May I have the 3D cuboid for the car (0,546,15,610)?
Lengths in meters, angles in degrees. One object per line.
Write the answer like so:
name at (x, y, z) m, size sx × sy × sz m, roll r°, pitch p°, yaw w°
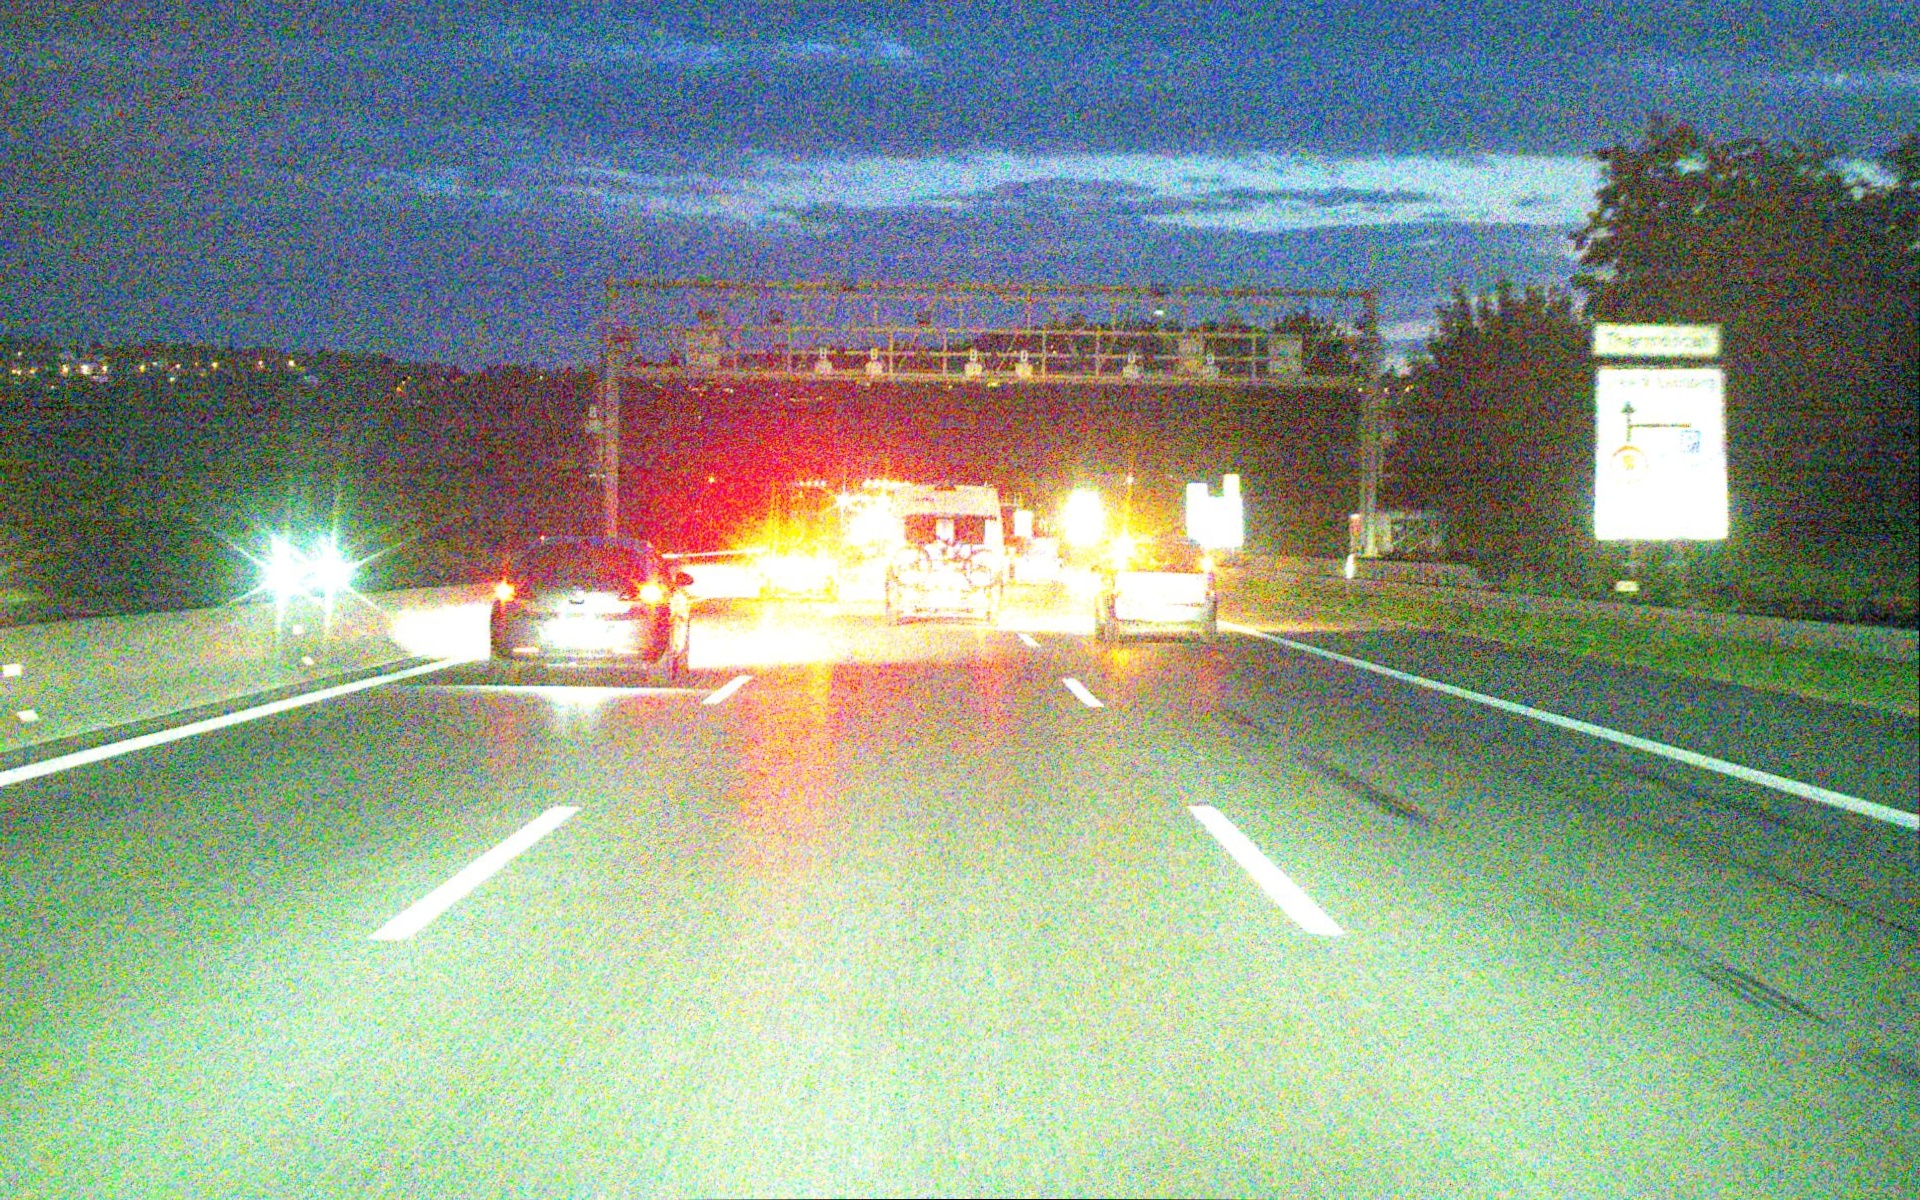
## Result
car at (-20.458, -0.409, 68.774) m, size 1.903 × 1.278 × 4.350 m, roll -1°, pitch 1°, yaw 0°

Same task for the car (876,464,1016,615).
car at (-0.241, -1.088, 60.878) m, size 2.351 × 2.526 × 5.701 m, roll 0°, pitch 1°, yaw 0°

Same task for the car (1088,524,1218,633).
car at (2.932, -0.351, 52.892) m, size 1.646 × 1.591 × 4.510 m, roll 1°, pitch 1°, yaw -1°

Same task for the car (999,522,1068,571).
car at (2.381, -1.751, 112.303) m, size 2.163 × 1.558 × 4.723 m, roll 0°, pitch 1°, yaw 0°

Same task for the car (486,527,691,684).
car at (-3.713, 0.014, 34.892) m, size 1.793 × 1.464 × 3.773 m, roll 1°, pitch 1°, yaw -2°

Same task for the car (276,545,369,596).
car at (-20.138, -0.955, 108.710) m, size 1.964 × 1.532 × 5.185 m, roll -1°, pitch 1°, yaw 0°

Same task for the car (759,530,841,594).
car at (-3.751, -0.909, 81.184) m, size 1.744 × 1.435 × 4.368 m, roll 0°, pitch 1°, yaw 0°
